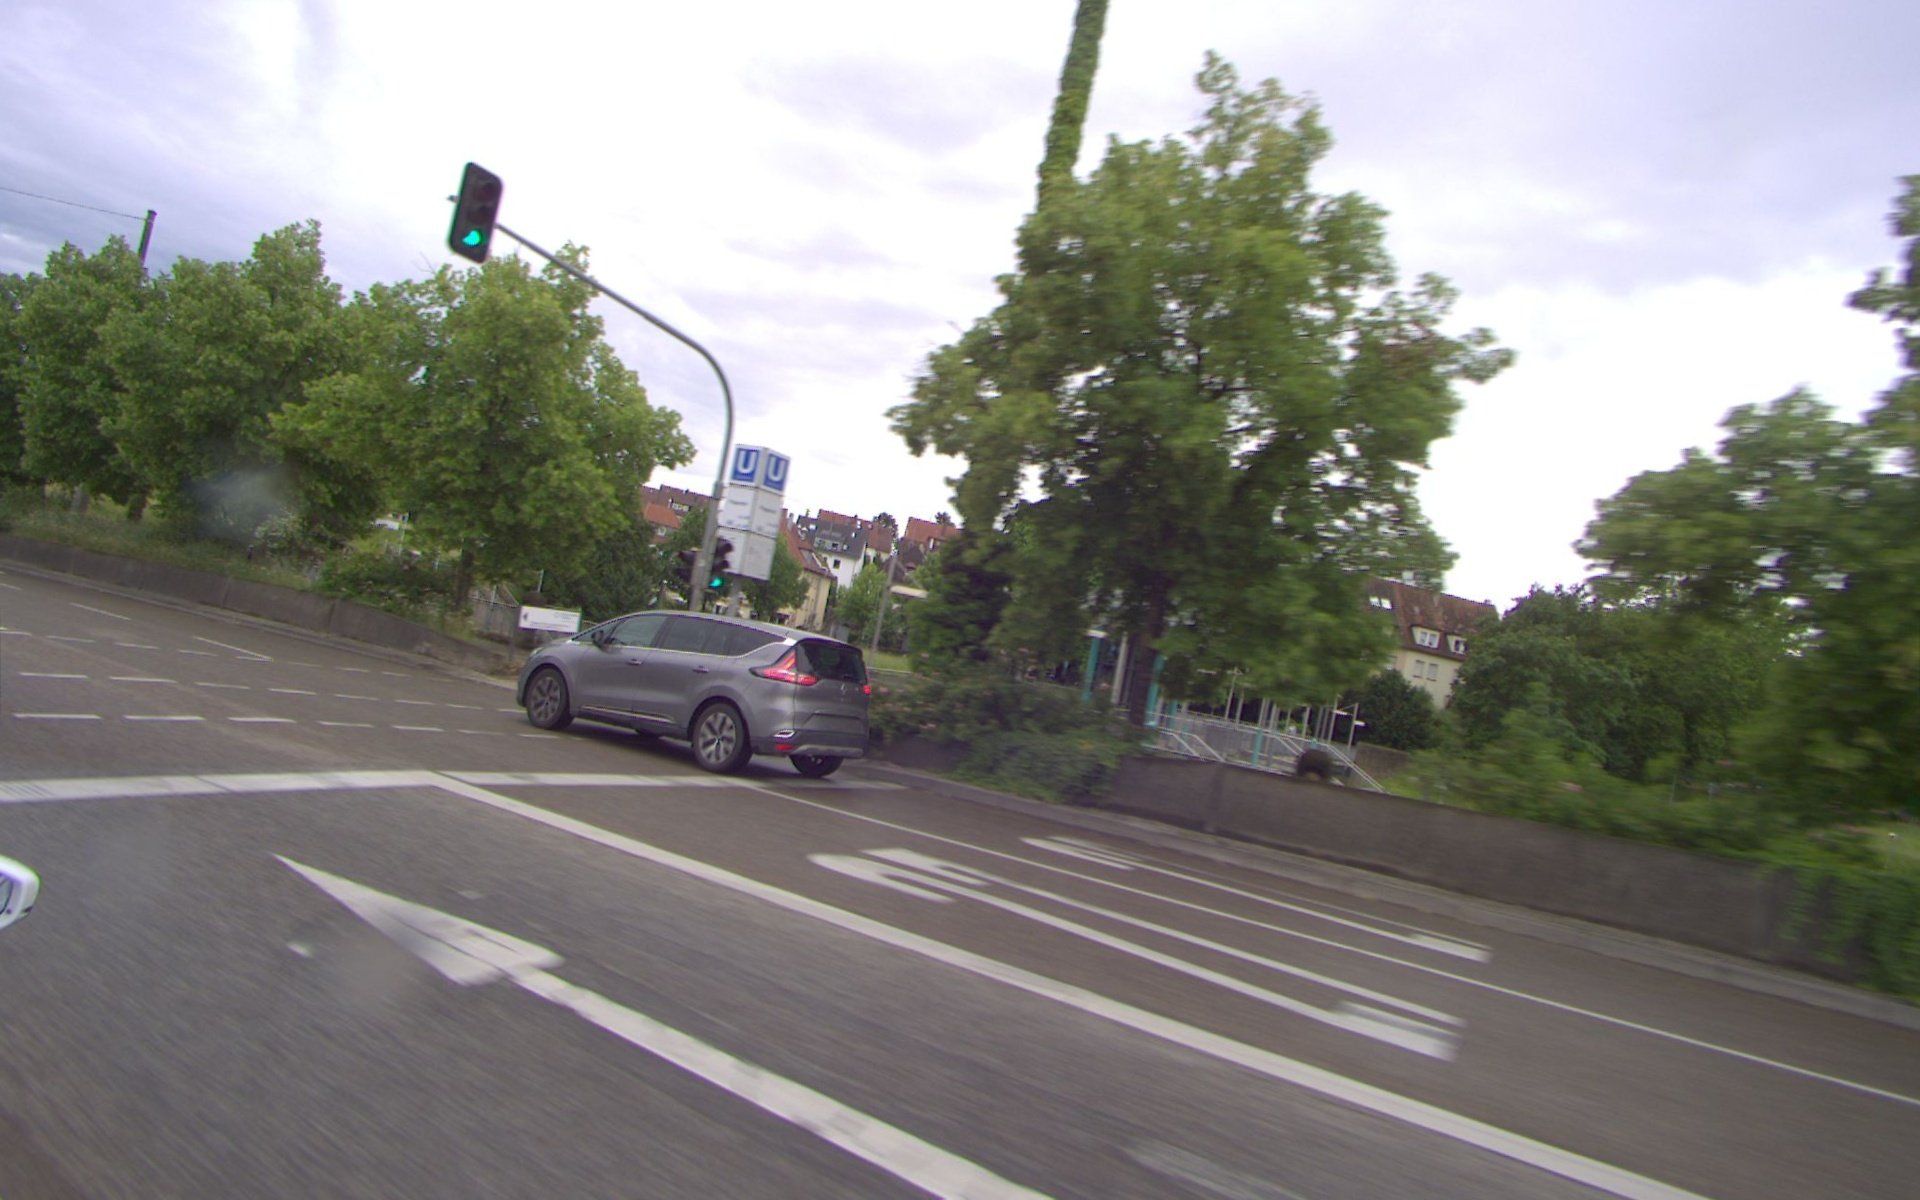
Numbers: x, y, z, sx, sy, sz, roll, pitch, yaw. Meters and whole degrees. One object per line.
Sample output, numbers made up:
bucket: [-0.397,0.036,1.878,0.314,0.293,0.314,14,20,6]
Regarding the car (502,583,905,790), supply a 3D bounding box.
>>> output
car: [-3.118,0.969,11.918,4.548,1.665,1.732,6,-6,31]
